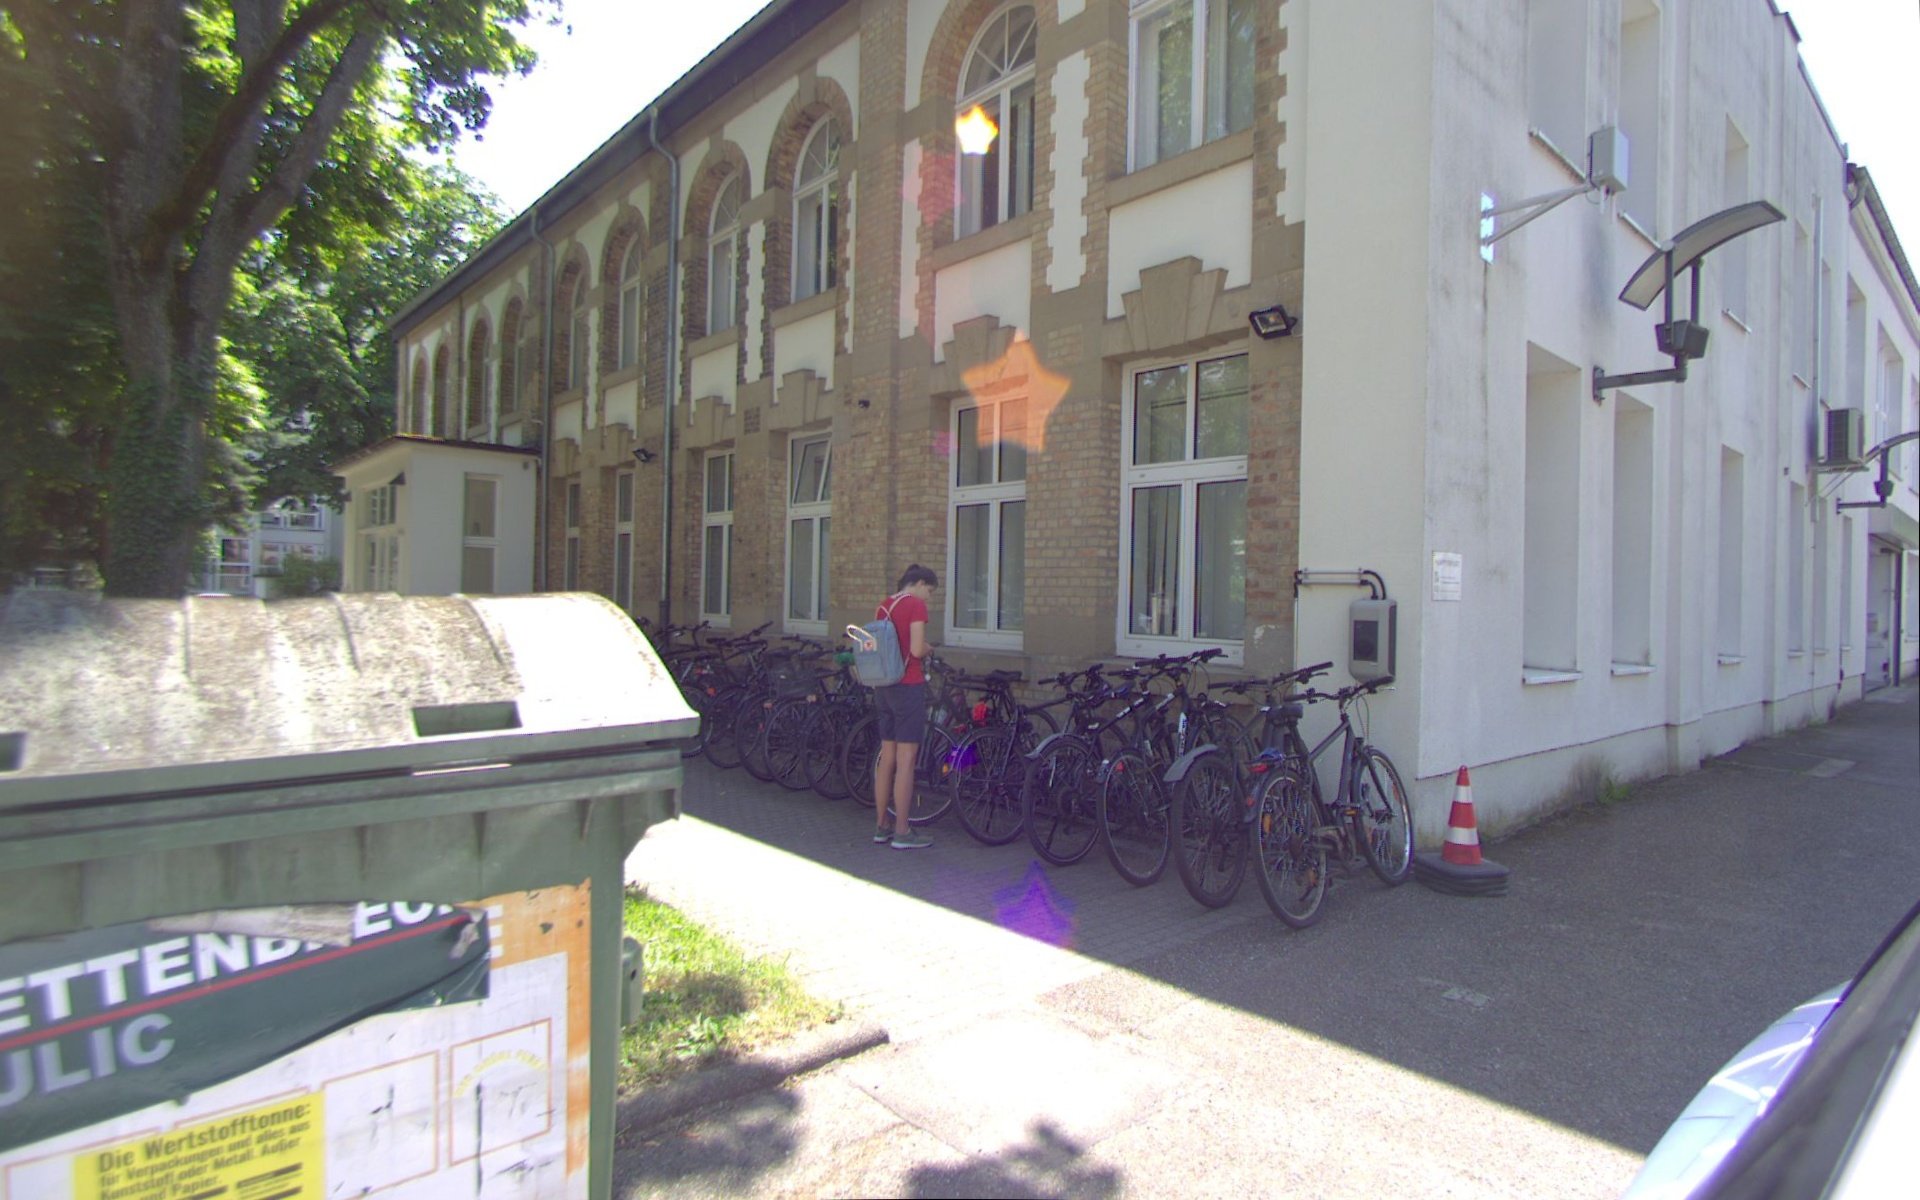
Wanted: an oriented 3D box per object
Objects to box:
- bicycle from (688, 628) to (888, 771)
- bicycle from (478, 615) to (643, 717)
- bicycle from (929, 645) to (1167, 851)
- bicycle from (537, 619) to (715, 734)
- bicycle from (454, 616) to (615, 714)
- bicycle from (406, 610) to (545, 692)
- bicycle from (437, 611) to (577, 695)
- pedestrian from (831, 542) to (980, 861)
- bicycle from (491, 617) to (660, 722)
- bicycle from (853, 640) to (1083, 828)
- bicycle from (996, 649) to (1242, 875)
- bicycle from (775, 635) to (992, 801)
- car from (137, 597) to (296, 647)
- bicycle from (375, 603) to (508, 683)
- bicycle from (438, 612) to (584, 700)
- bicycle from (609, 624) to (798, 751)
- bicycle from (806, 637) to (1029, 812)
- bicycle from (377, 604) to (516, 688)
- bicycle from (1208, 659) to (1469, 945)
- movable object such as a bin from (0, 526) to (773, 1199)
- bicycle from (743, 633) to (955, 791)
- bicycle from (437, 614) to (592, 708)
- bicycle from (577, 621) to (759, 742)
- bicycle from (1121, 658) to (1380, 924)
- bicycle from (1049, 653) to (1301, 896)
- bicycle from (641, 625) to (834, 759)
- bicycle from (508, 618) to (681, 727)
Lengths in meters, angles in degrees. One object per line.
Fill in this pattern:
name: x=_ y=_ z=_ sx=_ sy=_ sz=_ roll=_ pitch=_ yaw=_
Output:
bicycle: x=-1.482 y=0.831 z=8.974 sx=1.794 sy=1.115 sz=0.405 roll=0 pitch=0 yaw=-41
bicycle: x=-4.751 y=0.755 z=12.128 sx=1.794 sy=1.115 sz=0.405 roll=0 pitch=0 yaw=-41
bicycle: x=0.620 y=0.884 z=6.570 sx=1.794 sy=1.115 sz=0.405 roll=0 pitch=0 yaw=-41
bicycle: x=-3.560 y=0.783 z=10.906 sx=1.794 sy=1.115 sz=0.405 roll=0 pitch=0 yaw=-41
bicycle: x=-5.238 y=0.768 z=12.541 sx=1.794 sy=1.115 sz=0.405 roll=0 pitch=0 yaw=-41
bicycle: x=-7.060 y=0.720 z=14.810 sx=1.794 sy=1.115 sz=0.405 roll=0 pitch=0 yaw=-41
bicycle: x=-6.473 y=0.730 z=14.537 sx=1.794 sy=1.115 sz=0.405 roll=0 pitch=0 yaw=-41
pedestrian: x=-0.324 y=0.562 z=6.050 sx=0.677 sy=1.771 sz=0.552 roll=1 pitch=0 yaw=-40
bicycle: x=-4.419 y=0.763 z=11.724 sx=1.794 sy=1.115 sz=0.405 roll=0 pitch=0 yaw=-41
bicycle: x=0.105 y=0.872 z=7.104 sx=1.794 sy=1.115 sz=0.405 roll=0 pitch=0 yaw=-41
bicycle: x=1.011 y=0.894 z=6.101 sx=1.794 sy=1.115 sz=0.405 roll=0 pitch=0 yaw=-41
bicycle: x=-0.547 y=0.855 z=7.882 sx=1.794 sy=1.115 sz=0.405 roll=0 pitch=0 yaw=-41
car: x=-22.082 y=0.610 z=30.204 sx=1.634 sy=1.359 sz=3.504 roll=1 pitch=1 yaw=22
bicycle: x=-8.129 y=0.651 z=15.924 sx=1.795 sy=1.115 sz=0.405 roll=-3 pitch=3 yaw=-41
bicycle: x=-6.164 y=0.740 z=13.962 sx=1.794 sy=1.115 sz=0.405 roll=0 pitch=0 yaw=-41
bicycle: x=-2.468 y=0.808 z=9.902 sx=1.794 sy=1.115 sz=0.405 roll=0 pitch=0 yaw=-41
bicycle: x=-0.268 y=0.862 z=7.540 sx=1.794 sy=1.115 sz=0.405 roll=0 pitch=0 yaw=-41
bicycle: x=-7.726 y=0.663 z=15.292 sx=1.795 sy=1.115 sz=0.405 roll=-3 pitch=3 yaw=-41
bicycle: x=1.933 y=0.895 z=5.013 sx=1.794 sy=1.115 sz=0.405 roll=0 pitch=0 yaw=-41
movable object such as a bin: x=-1.176 y=0.651 z=1.658 sx=1.353 sy=1.476 sz=1.077 roll=0 pitch=0 yaw=-40
bicycle: x=-0.854 y=0.847 z=8.213 sx=1.794 sy=1.115 sz=0.405 roll=0 pitch=0 yaw=-41
bicycle: x=-5.738 y=0.755 z=13.118 sx=1.794 sy=1.115 sz=0.405 roll=0 pitch=0 yaw=-41
bicycle: x=-2.962 y=0.796 z=10.416 sx=1.794 sy=1.115 sz=0.405 roll=0 pitch=0 yaw=-41
bicycle: x=1.590 y=0.910 z=5.337 sx=1.794 sy=1.115 sz=0.405 roll=0 pitch=0 yaw=-41
bicycle: x=1.278 y=0.902 z=5.751 sx=1.794 sy=1.115 sz=0.405 roll=0 pitch=0 yaw=-41
bicycle: x=-2.051 y=0.818 z=9.506 sx=1.794 sy=1.115 sz=0.405 roll=0 pitch=0 yaw=-41
bicycle: x=-4.052 y=0.772 z=11.332 sx=1.794 sy=1.115 sz=0.405 roll=0 pitch=0 yaw=-41
